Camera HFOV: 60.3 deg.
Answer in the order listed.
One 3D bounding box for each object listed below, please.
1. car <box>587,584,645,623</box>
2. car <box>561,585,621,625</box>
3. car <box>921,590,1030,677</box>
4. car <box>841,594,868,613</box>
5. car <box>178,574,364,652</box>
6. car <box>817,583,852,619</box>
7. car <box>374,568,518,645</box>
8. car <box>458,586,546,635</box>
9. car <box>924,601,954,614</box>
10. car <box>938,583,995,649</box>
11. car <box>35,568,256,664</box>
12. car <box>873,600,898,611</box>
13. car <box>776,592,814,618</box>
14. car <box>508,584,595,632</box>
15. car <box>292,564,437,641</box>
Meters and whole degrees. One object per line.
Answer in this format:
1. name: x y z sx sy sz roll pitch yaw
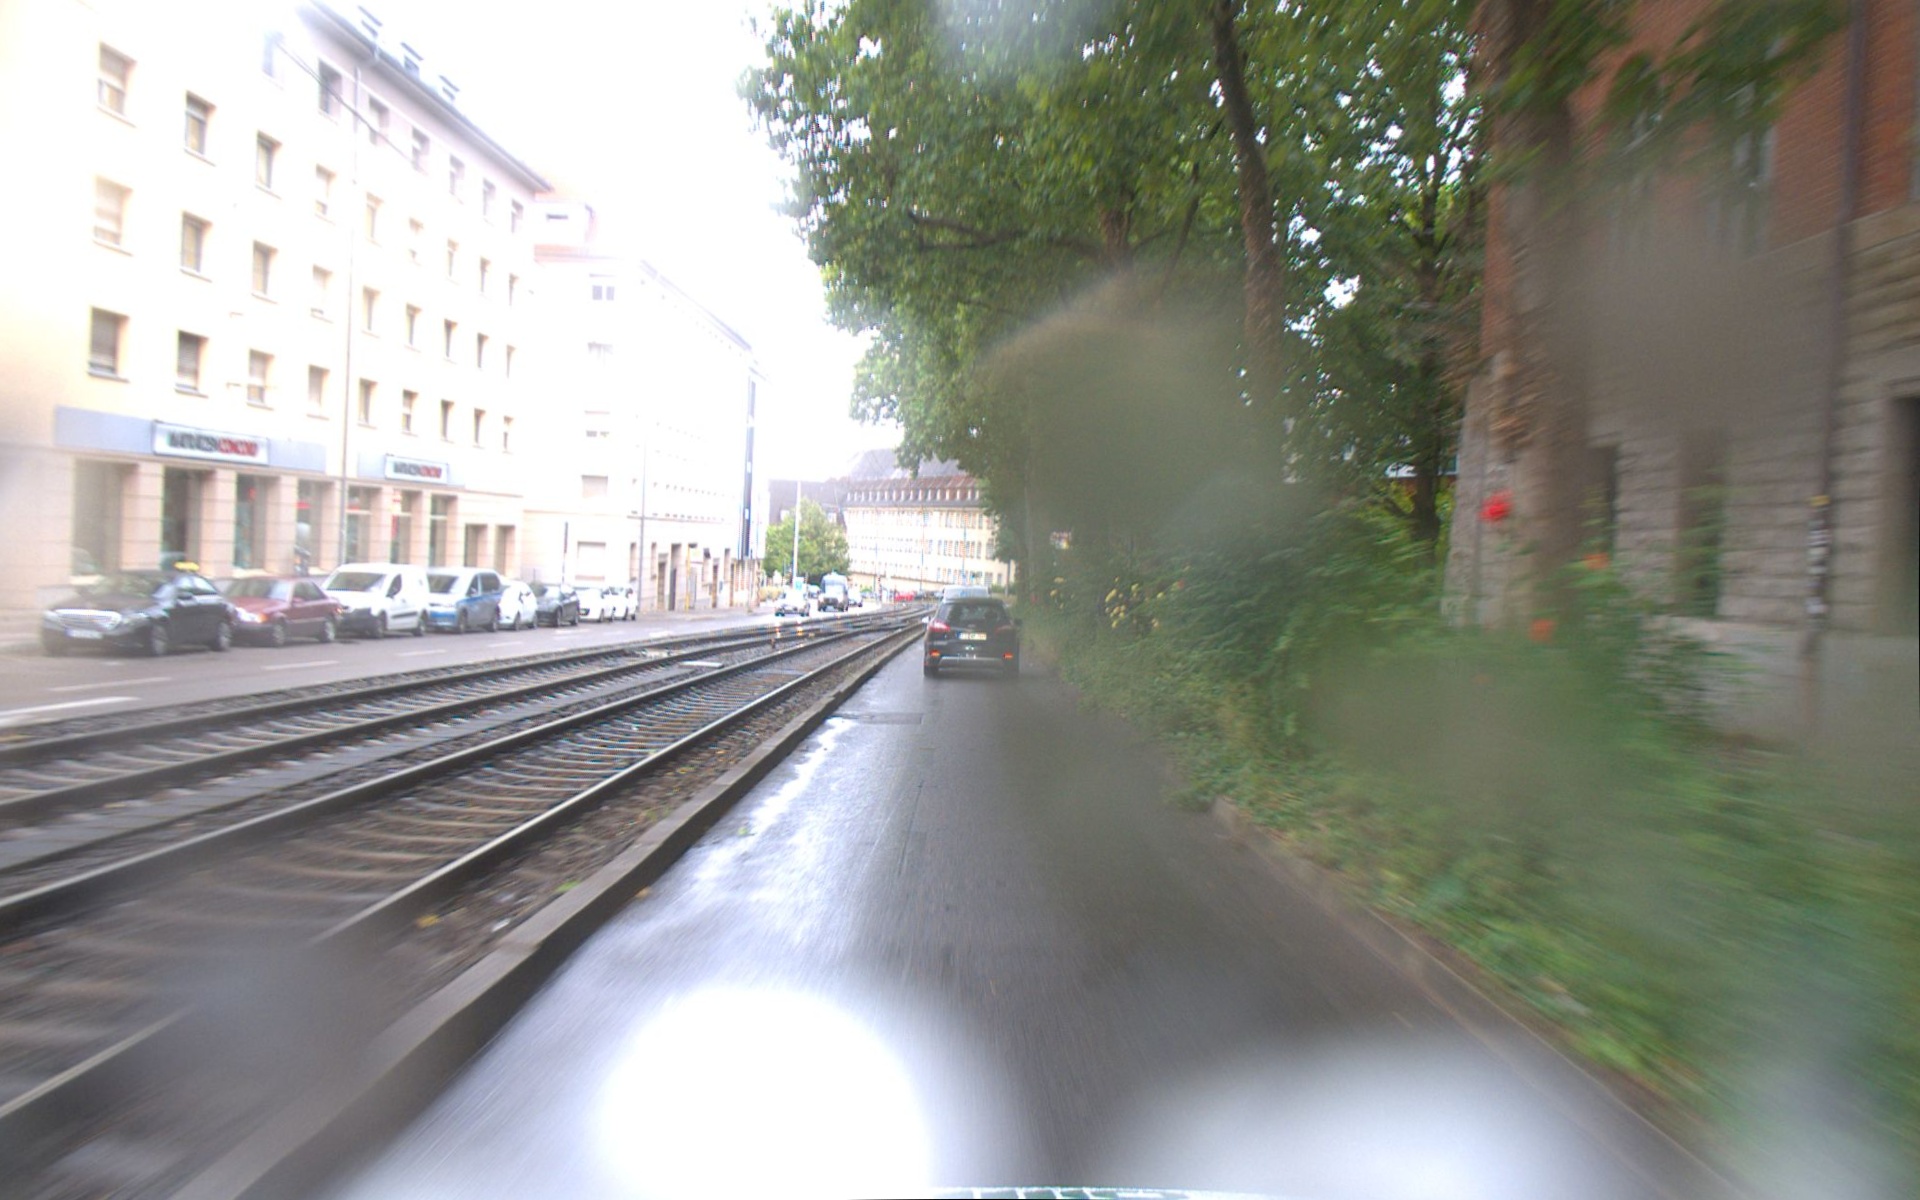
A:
1. car: -14.458 0.161 69.628 1.674 1.475 3.540 4 -1 -2
2. car: -14.440 0.180 64.897 1.670 1.421 3.932 4 0 -4
3. car: 0.233 0.634 32.047 1.894 1.478 4.316 3 -1 -2
4. car: -9.145 0.291 143.415 1.841 1.512 4.854 2 0 1
5. car: -14.640 0.292 35.466 1.813 1.457 4.831 3 -1 1
6. car: -9.431 0.076 124.529 1.952 2.495 5.998 2 -1 1
7. car: -14.507 0.201 47.084 1.952 1.938 5.462 4 -1 4
8. car: -14.445 0.345 52.372 1.657 1.464 4.048 0 -1 0
9. car: -2.634 0.927 210.479 1.975 1.569 3.954 2 -1 -33
10. car: 0.177 0.539 54.495 1.705 2.049 3.902 2 -1 -1
11. car: -14.551 0.305 29.891 1.815 1.534 4.986 2 -1 -5
12. car: -10.089 0.751 224.573 1.969 1.569 3.967 1 0 -26
13. car: -9.763 0.307 98.197 1.676 1.488 4.281 1 -1 2
14. car: -14.243 0.279 57.900 1.776 1.525 4.582 3 0 0
15. car: -14.664 0.100 40.986 1.828 1.747 4.460 2 -1 2
